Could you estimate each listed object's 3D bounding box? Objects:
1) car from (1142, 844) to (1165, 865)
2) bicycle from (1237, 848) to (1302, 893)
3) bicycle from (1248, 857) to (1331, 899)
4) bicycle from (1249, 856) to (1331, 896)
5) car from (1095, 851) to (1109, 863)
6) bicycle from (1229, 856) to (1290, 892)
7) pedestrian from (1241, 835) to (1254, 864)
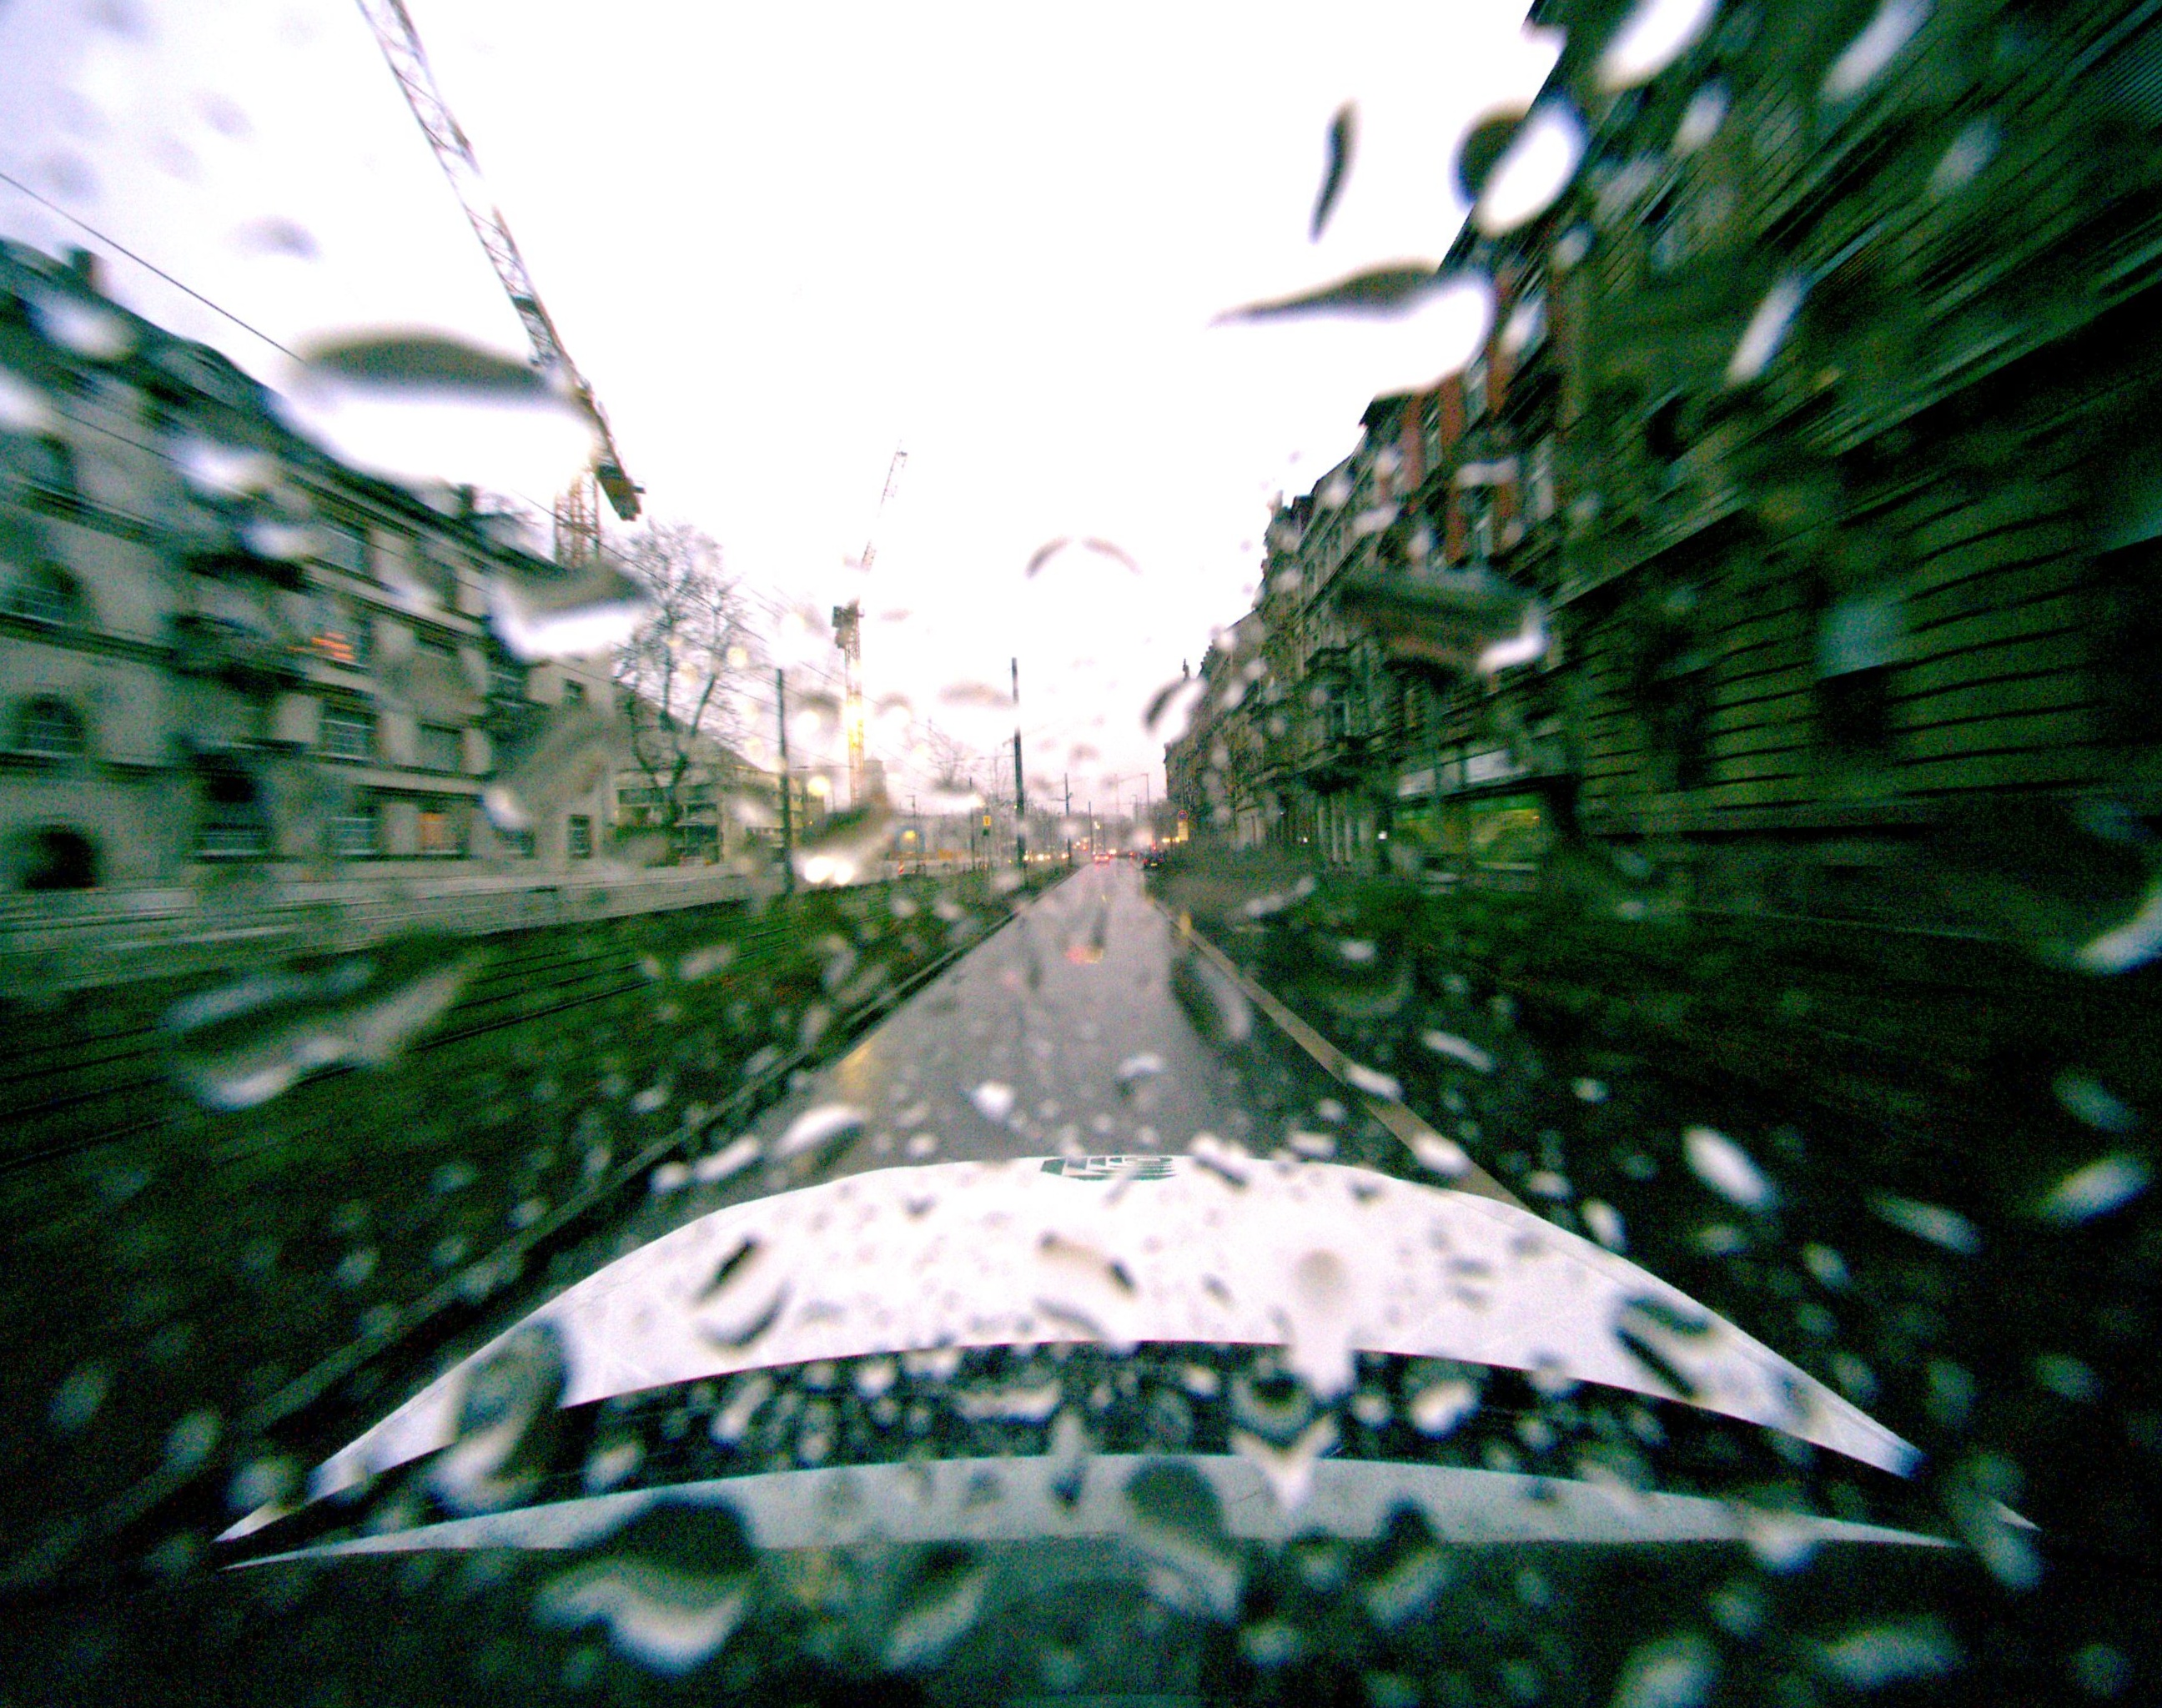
[{"bbox_3d":[6.116,0.029,69.305,1.791,1.604,3.774,-3,0,4],"label":"car"},{"bbox_3d":[5.838,0.516,25.250,1.846,1.290,0.415,-3,0,-2],"label":"bicycle"},{"bbox_3d":[5.808,0.657,22.732,2.143,1.057,0.525,-3,0,-5],"label":"bicycle"},{"bbox_3d":[6.146,0.641,23.978,2.242,1.057,0.525,-3,0,-1],"label":"bicycle"},{"bbox_3d":[2.770,0.393,106.668,1.776,1.467,3.151,-3,0,3],"label":"car"},{"bbox_3d":[5.882,0.652,26.852,1.846,1.058,0.471,-3,0,-2],"label":"bicycle"},{"bbox_3d":[10.314,-0.278,50.364,0.600,1.785,0.528,-3,0,1],"label":"pedestrian"}]
